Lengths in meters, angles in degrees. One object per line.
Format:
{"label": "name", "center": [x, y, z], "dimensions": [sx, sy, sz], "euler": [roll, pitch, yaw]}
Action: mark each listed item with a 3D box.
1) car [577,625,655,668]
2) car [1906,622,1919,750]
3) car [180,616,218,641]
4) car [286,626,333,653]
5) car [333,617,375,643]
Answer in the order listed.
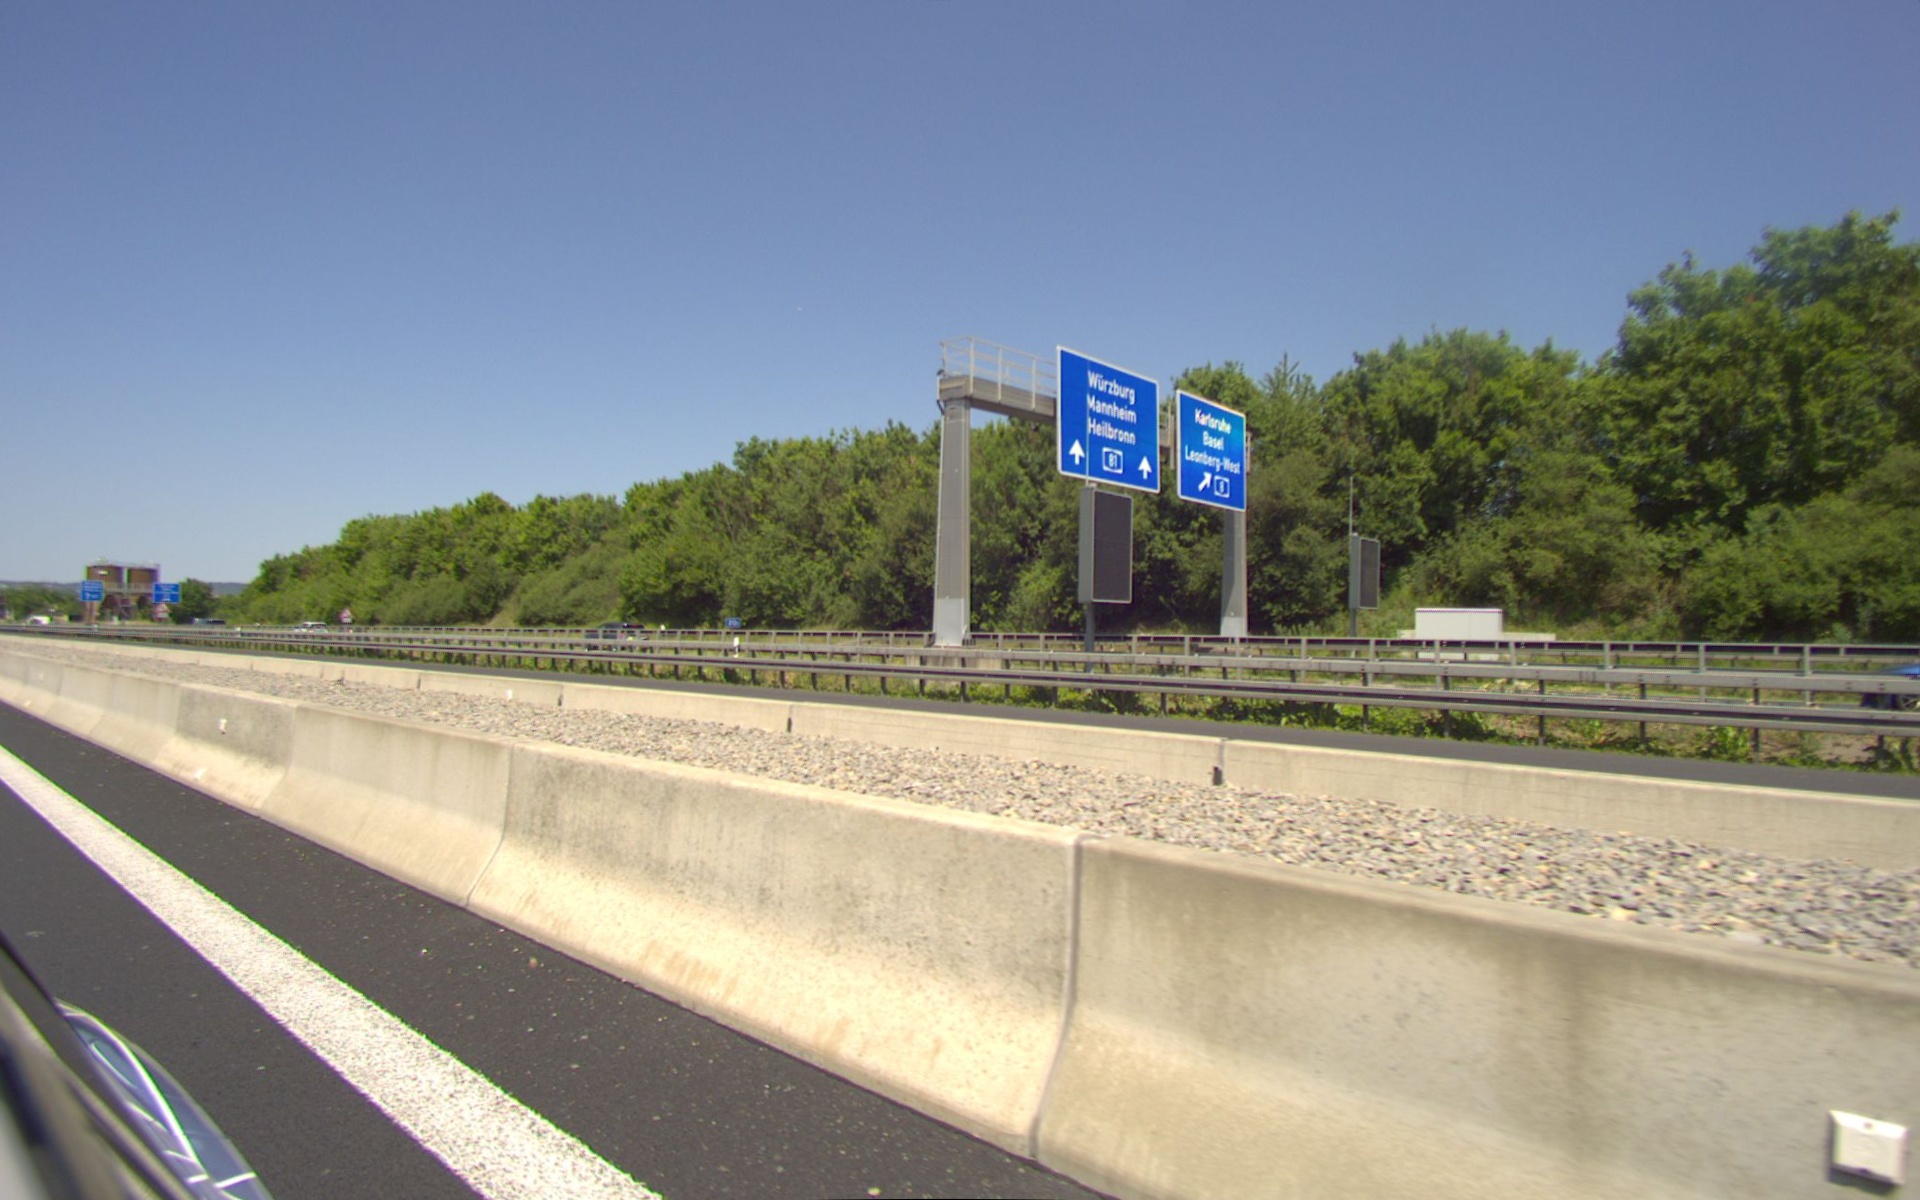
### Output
{"label": "car", "center": [-17.383, 2.301, 51.028], "dimensions": [3.997, 2.029, 1.973], "euler": [-1, 0, 41]}
{"label": "car", "center": [17.383, 1.396, 15.529], "dimensions": [3.995, 2.029, 1.975], "euler": [-1, 0, 38]}
{"label": "car", "center": [-66.889, 2.495, 88.921], "dimensions": [4.764, 2.029, 1.925], "euler": [0, 0, 43]}
{"label": "car", "center": [-52.955, 3.151, 82.396], "dimensions": [4.760, 2.029, 1.927], "euler": [-1, 0, 40]}
{"label": "car", "center": [-50.800, 2.514, 84.816], "dimensions": [4.021, 2.029, 1.925], "euler": [0, 0, 43]}
